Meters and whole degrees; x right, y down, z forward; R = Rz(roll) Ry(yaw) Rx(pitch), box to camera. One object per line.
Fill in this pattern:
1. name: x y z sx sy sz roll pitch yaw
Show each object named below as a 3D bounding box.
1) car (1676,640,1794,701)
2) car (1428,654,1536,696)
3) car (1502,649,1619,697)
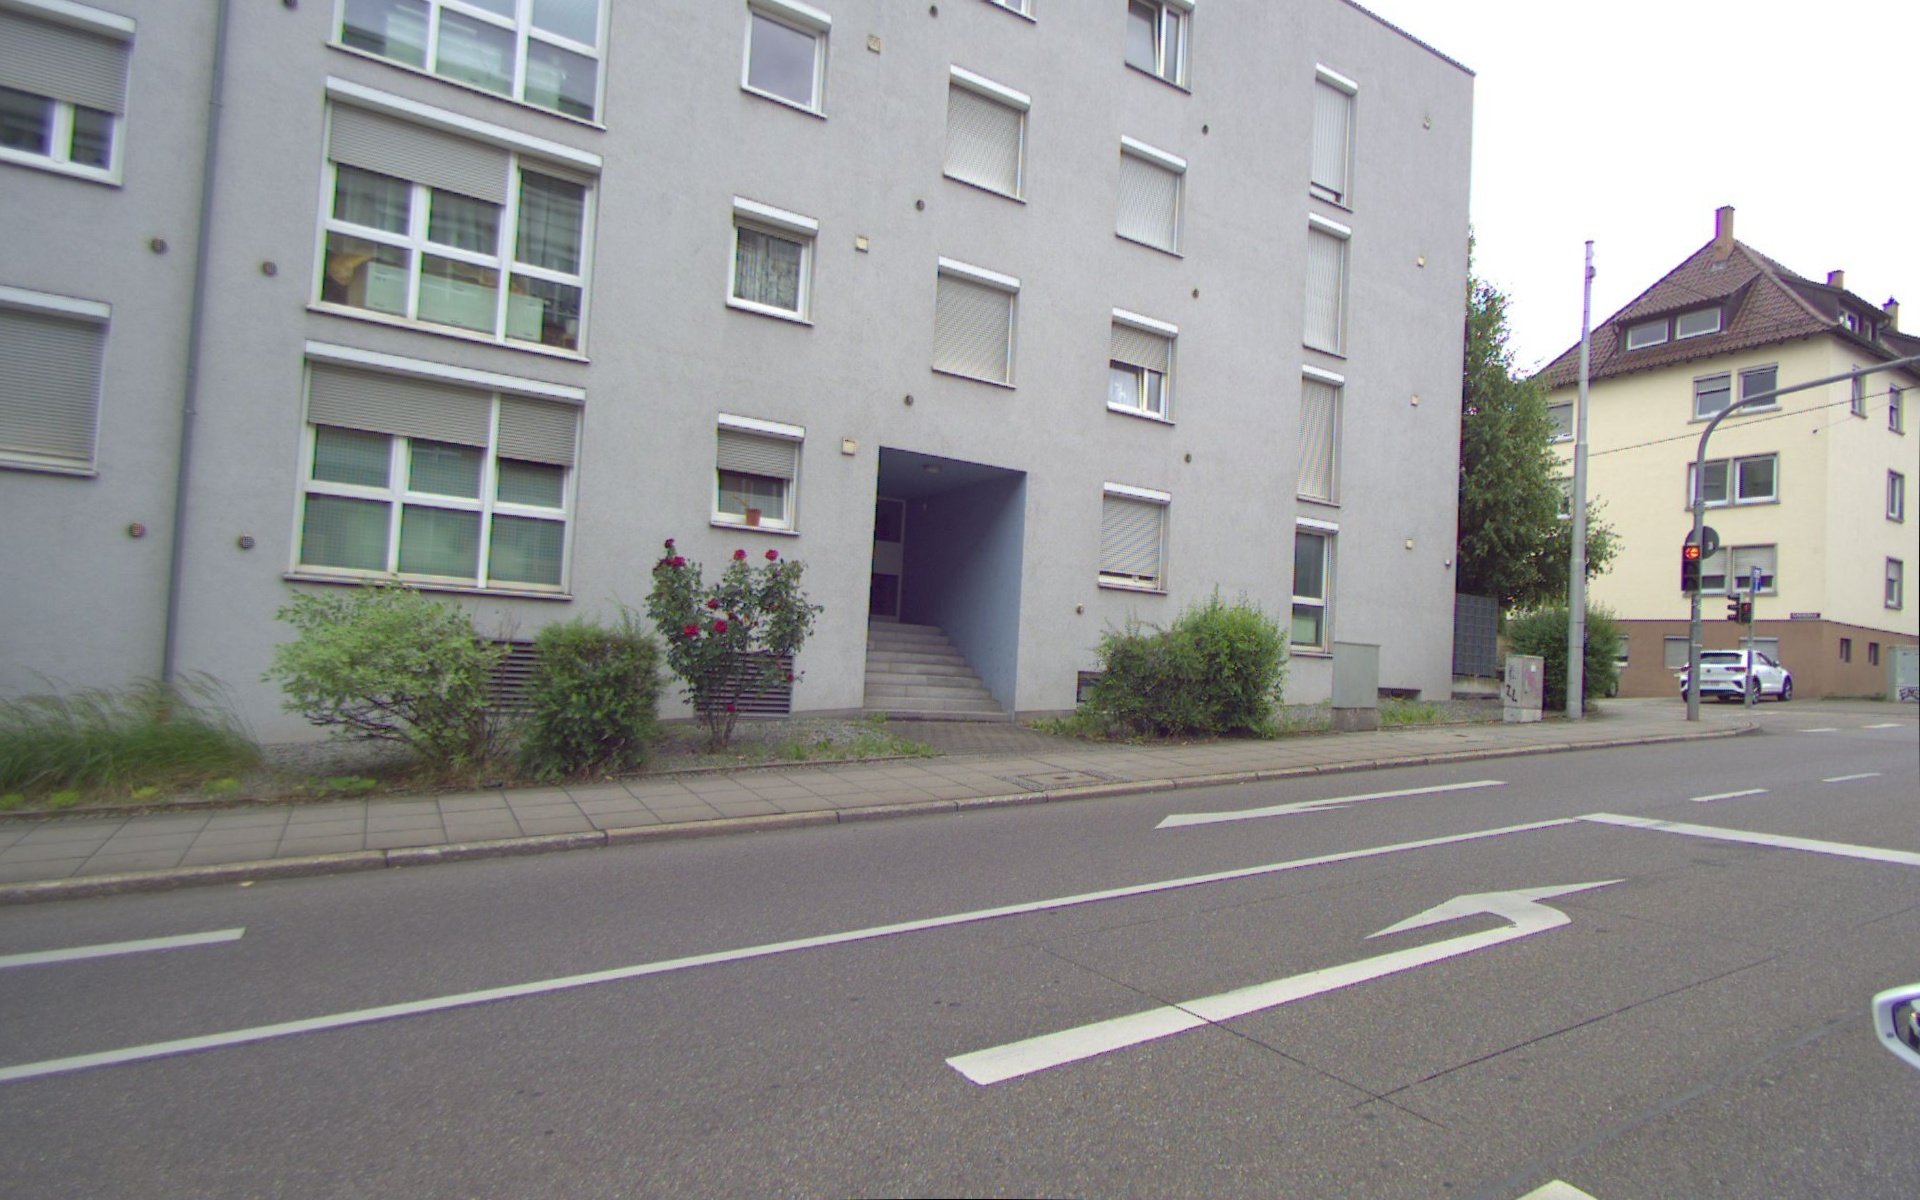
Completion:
1. car: 23.195 2.078 30.026 3.960 1.683 1.660 2 -4 -35
2. car: 19.005 2.704 36.556 3.953 1.380 1.662 2 -1 -30
3. car: 20.597 2.493 34.418 4.053 1.566 1.662 2 -4 -30
